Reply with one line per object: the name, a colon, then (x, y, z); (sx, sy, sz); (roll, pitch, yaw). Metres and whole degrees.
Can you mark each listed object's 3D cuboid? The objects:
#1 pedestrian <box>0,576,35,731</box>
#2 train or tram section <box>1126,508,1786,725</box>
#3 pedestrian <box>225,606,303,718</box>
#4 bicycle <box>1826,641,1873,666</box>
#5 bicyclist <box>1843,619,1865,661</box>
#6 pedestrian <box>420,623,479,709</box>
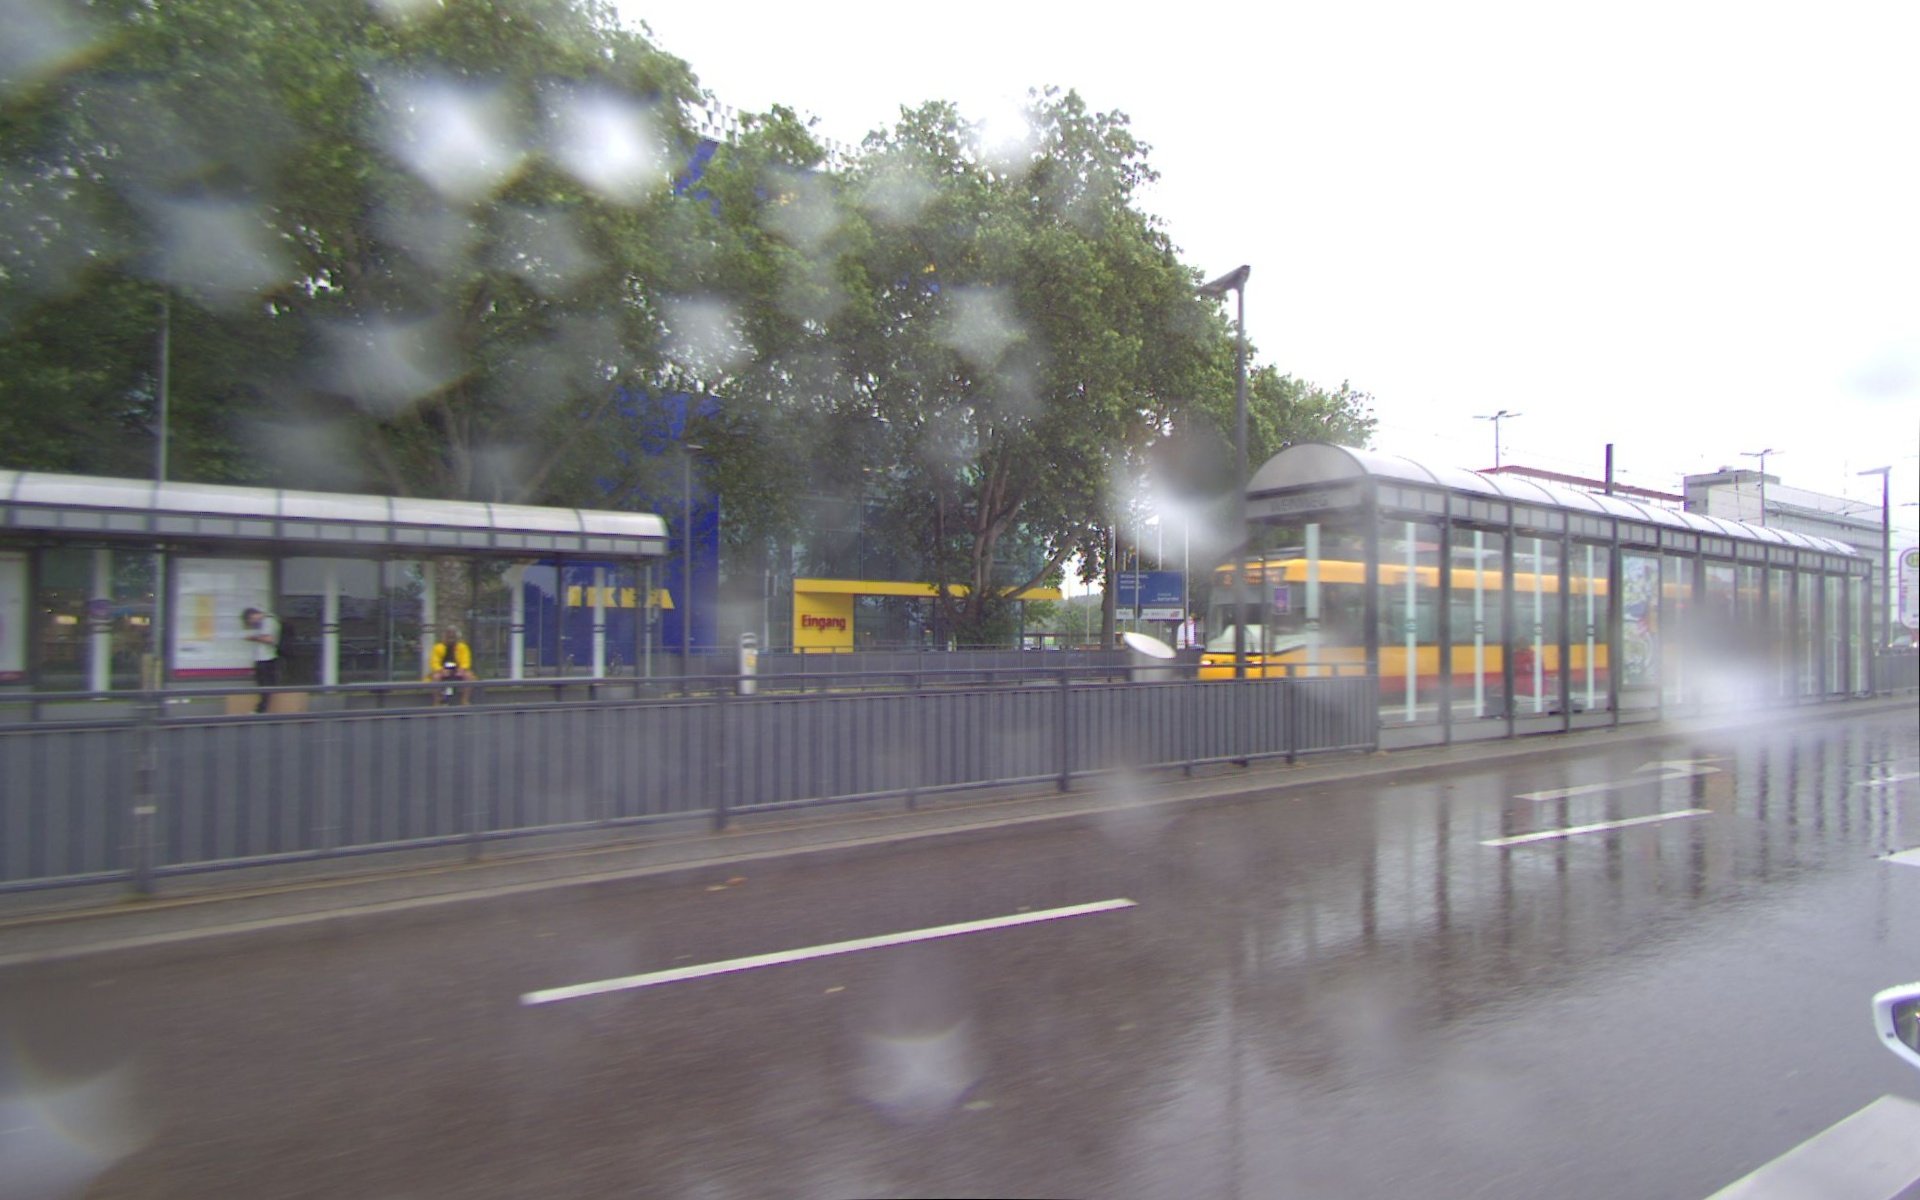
pedestrian: (-12.421, 0.667, 12.775); (0.804, 1.959, 0.618); (1, 0, -28)
train or tram section: (15.807, 0.592, 28.034); (26.810, 4.090, 3.747); (1, 0, -34)
pedestrian: (-10.239, 0.885, 14.781); (0.813, 1.582, 0.671); (1, 0, 33)
bicycle: (43.812, 2.625, 49.483); (0.590, 1.204, 1.642); (3, -3, -37)
bicyclist: (43.935, 1.961, 49.356); (0.546, 2.040, 0.689); (1, 0, -38)
pedestrian: (-8.155, 1.045, 16.061); (0.804, 1.320, 0.640); (1, 0, -28)
